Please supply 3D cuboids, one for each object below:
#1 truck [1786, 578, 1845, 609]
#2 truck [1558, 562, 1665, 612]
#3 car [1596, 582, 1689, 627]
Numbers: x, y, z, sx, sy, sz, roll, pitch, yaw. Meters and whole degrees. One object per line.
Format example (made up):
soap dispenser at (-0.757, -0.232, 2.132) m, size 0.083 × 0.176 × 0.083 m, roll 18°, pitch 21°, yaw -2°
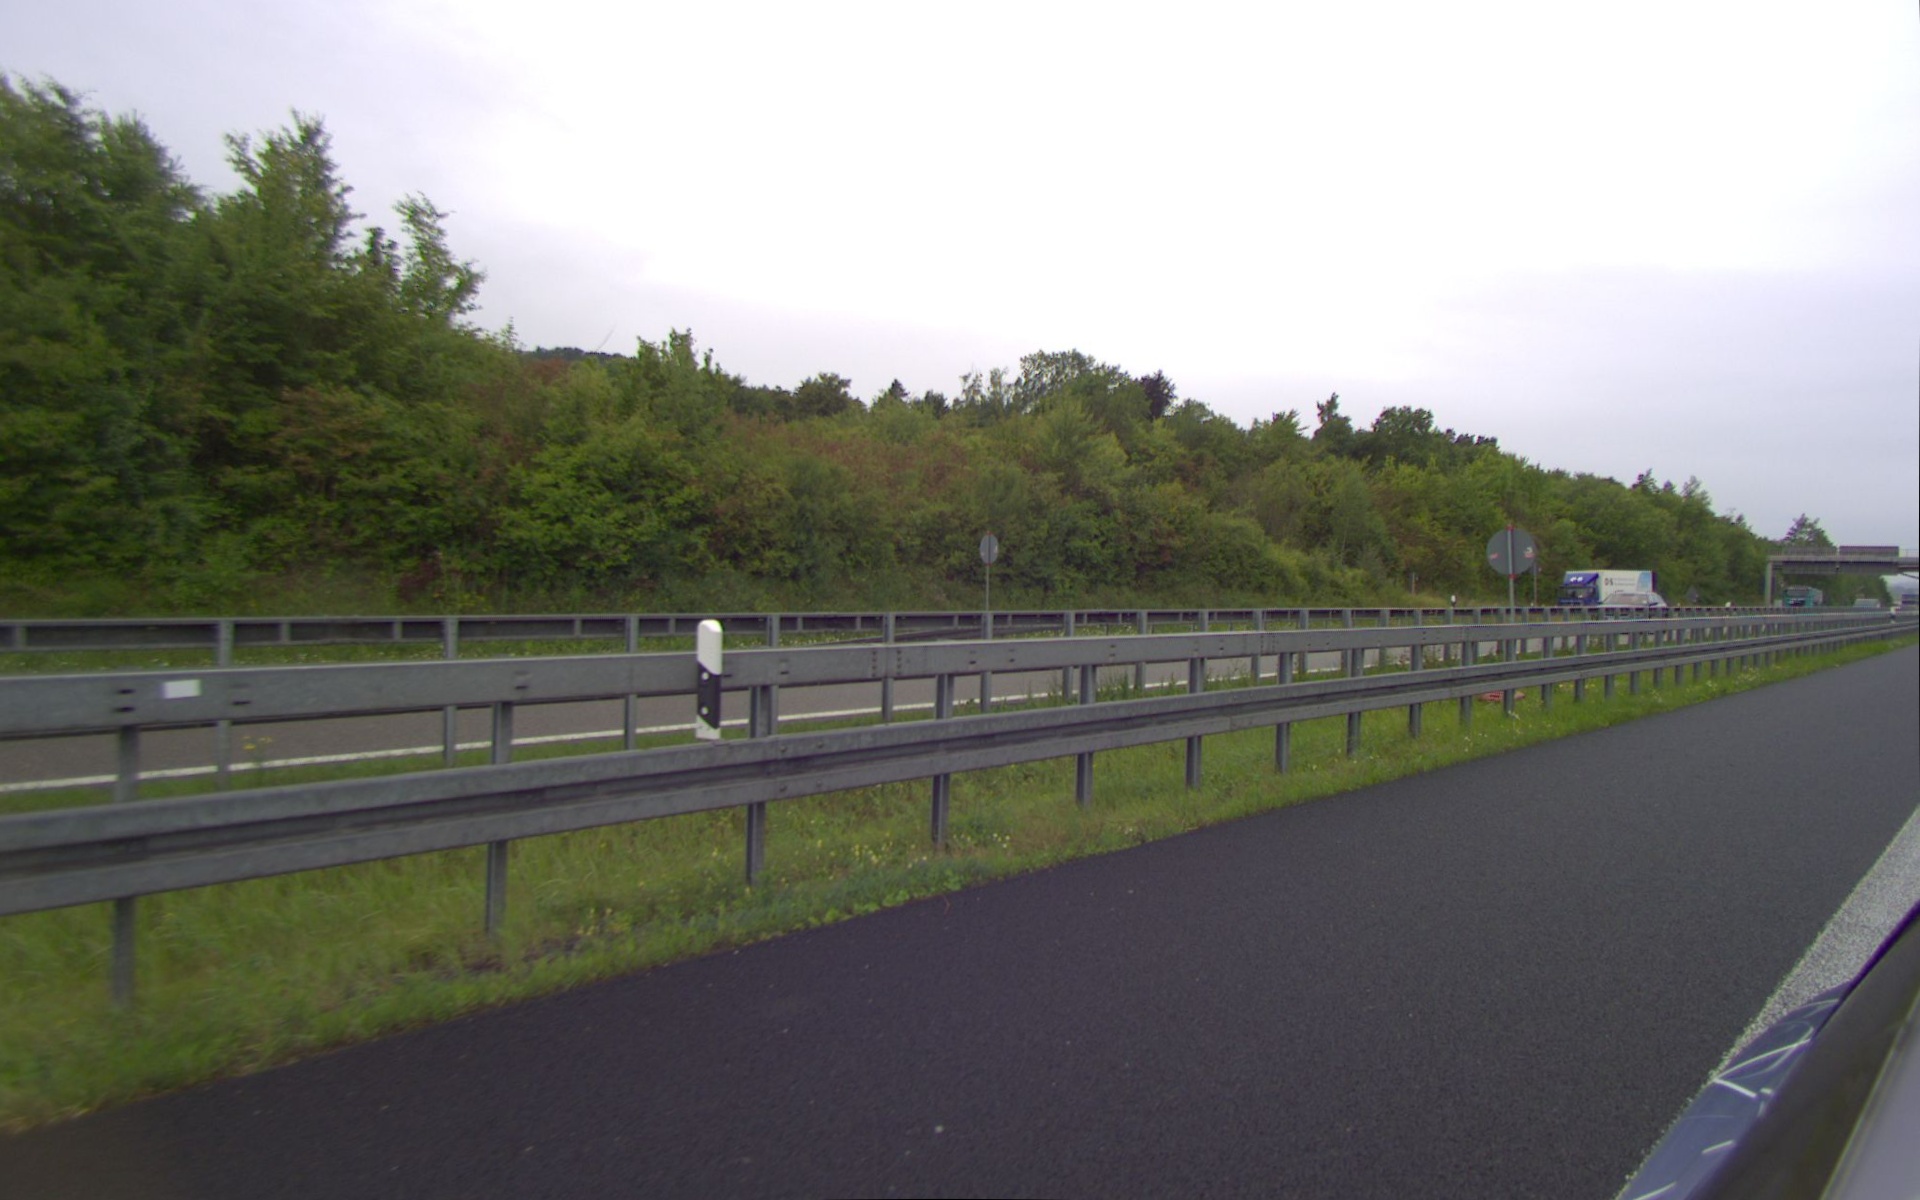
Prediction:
truck at (99.494, -0.787, 117.582) m, size 13.113 × 3.460 × 2.908 m, roll 0°, pitch 1°, yaw -39°
truck at (48.190, -0.941, 74.794) m, size 9.098 × 3.460 × 2.913 m, roll 0°, pitch 1°, yaw -31°
car at (26.844, 0.150, 39.743) m, size 4.395 × 1.676 × 2.011 m, roll 0°, pitch 1°, yaw -41°
